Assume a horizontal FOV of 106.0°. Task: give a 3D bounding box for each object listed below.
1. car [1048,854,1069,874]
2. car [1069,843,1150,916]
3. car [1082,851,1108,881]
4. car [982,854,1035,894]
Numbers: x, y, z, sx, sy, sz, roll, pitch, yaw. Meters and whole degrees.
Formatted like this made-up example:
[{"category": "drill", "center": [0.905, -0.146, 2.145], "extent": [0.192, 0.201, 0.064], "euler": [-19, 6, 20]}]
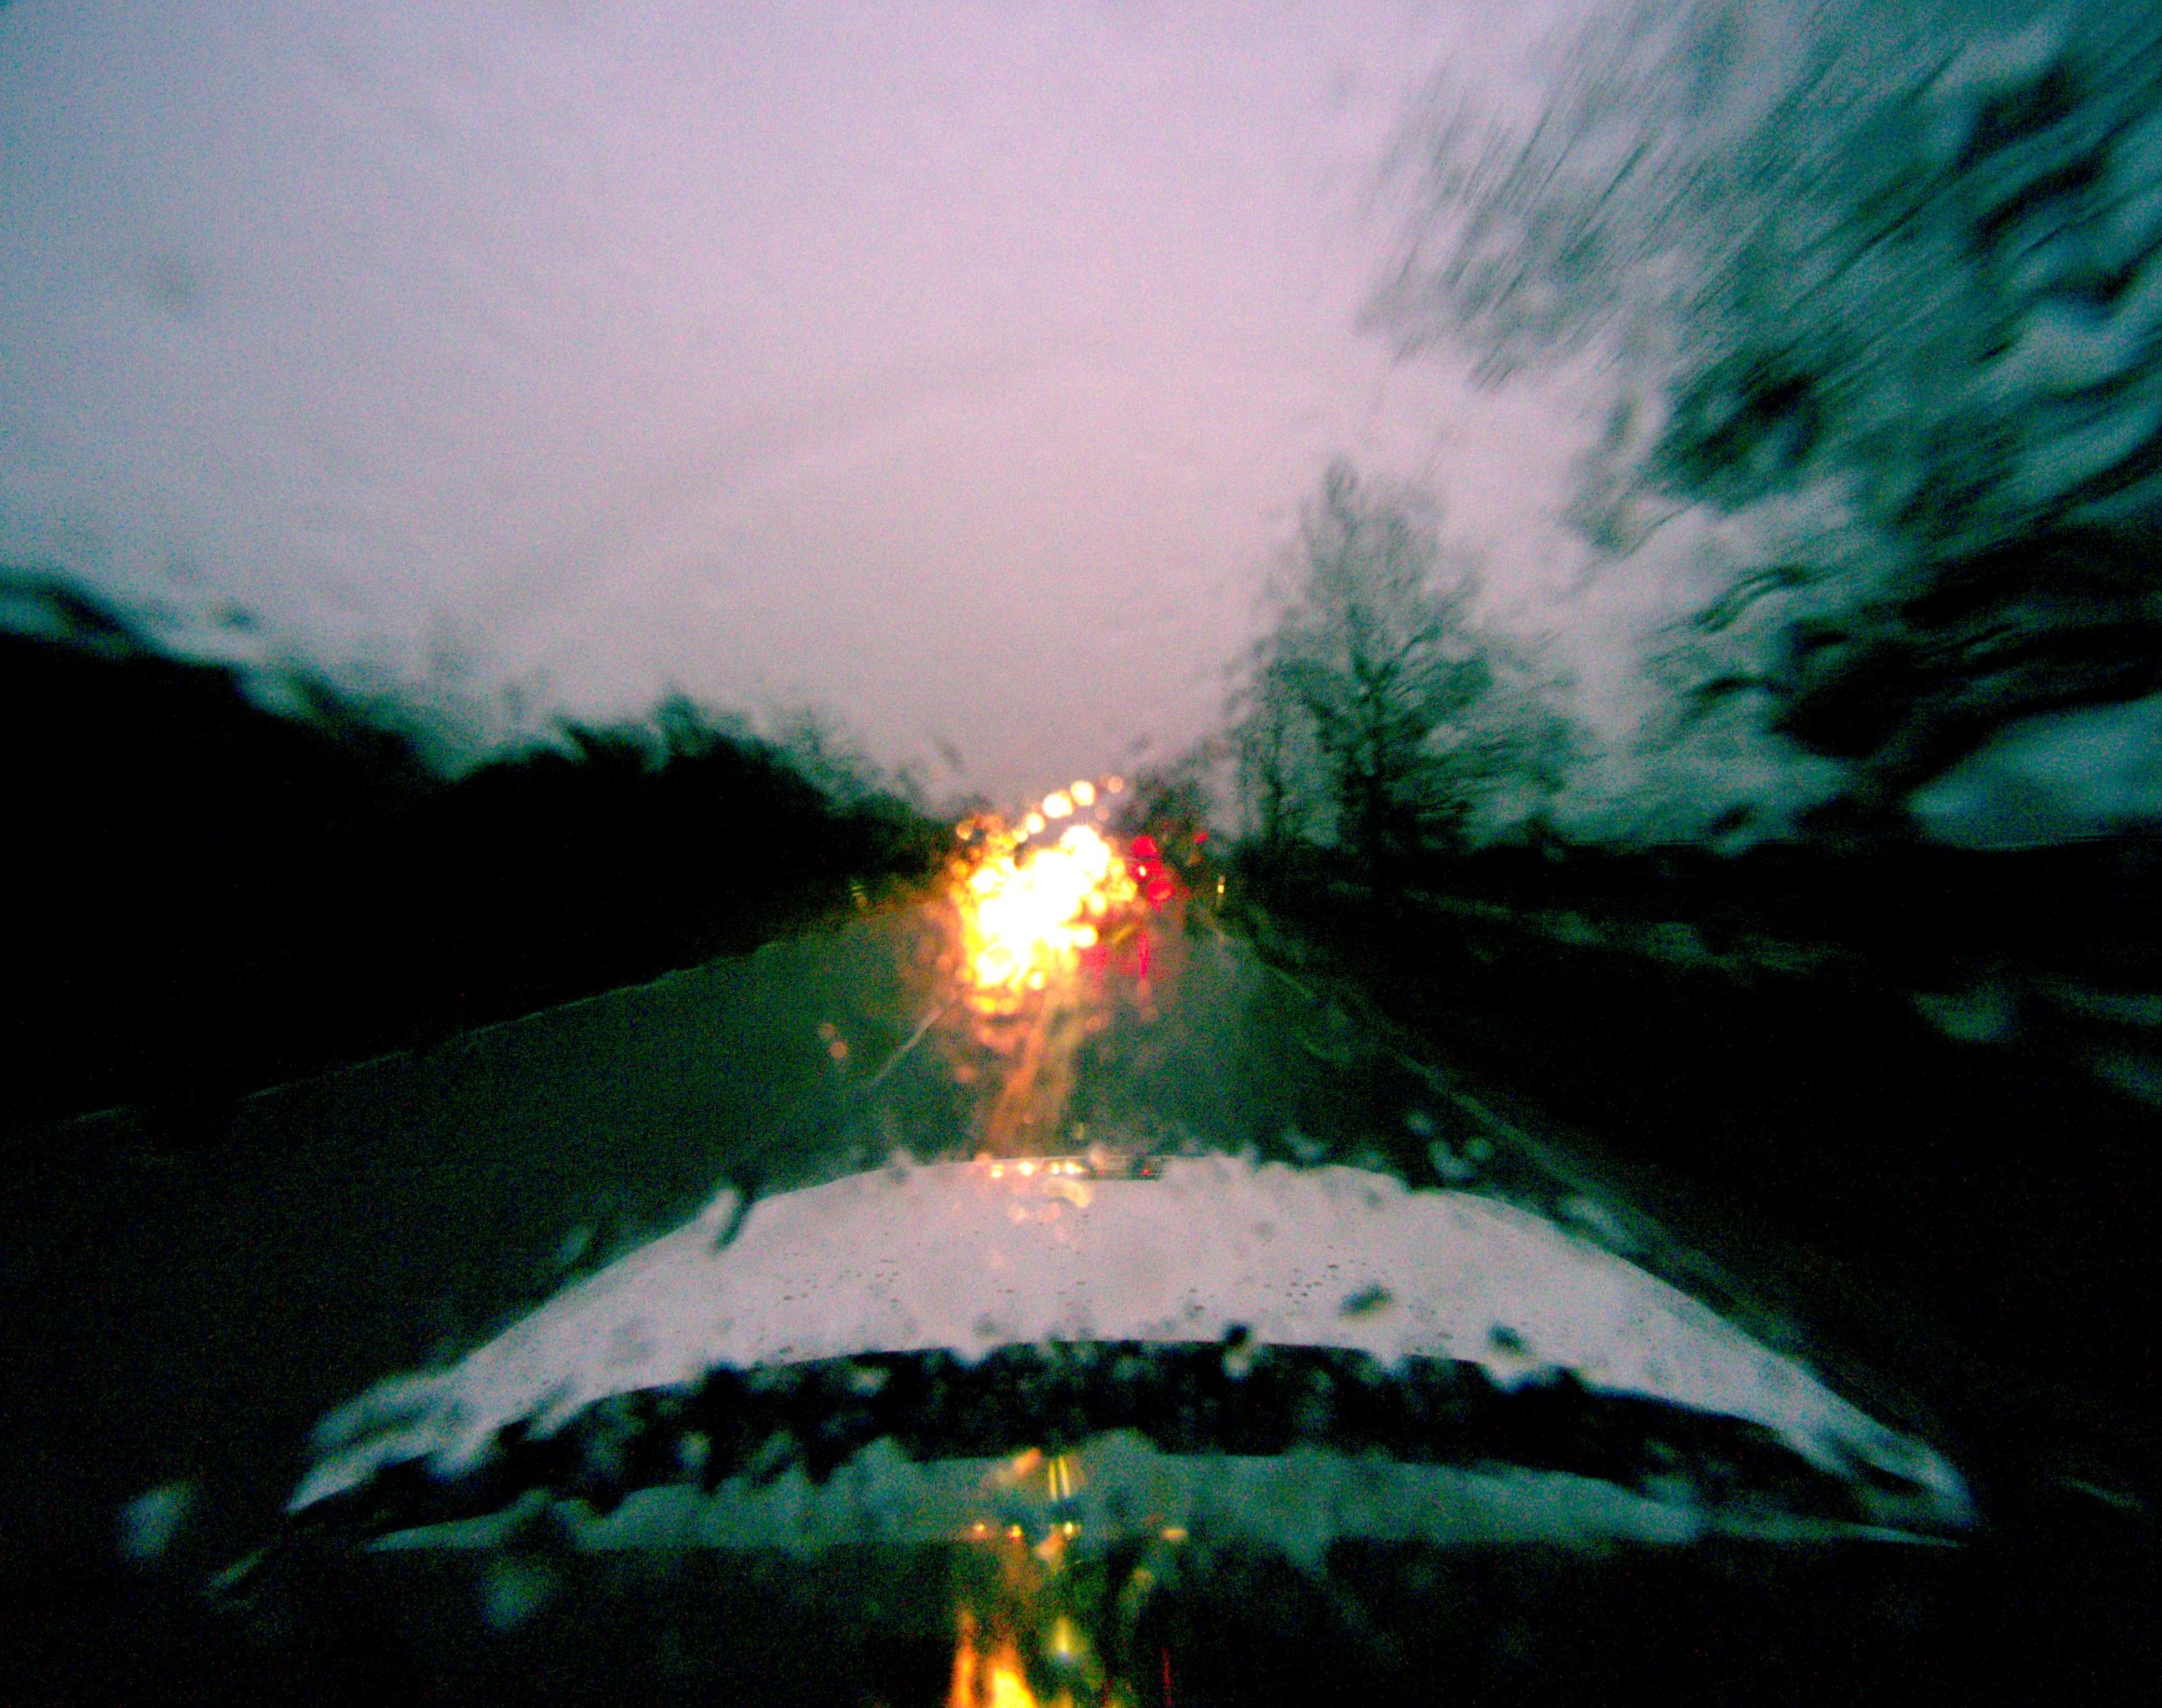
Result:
[{"category": "car", "center": [-1.969, 0.859, 71.284], "extent": [1.748, 1.647, 4.046], "euler": [-1, 0, -2]}, {"category": "car", "center": [0.794, 0.634, 21.935], "extent": [1.985, 1.784, 4.003], "euler": [0, 0, 2]}, {"category": "car", "center": [0.909, 0.736, 52.685], "extent": [1.568, 1.875, 3.711], "euler": [0, 0, 3]}, {"category": "car", "center": [-2.879, 0.770, 33.024], "extent": [1.685, 1.530, 4.086], "euler": [0, 0, 1]}]
